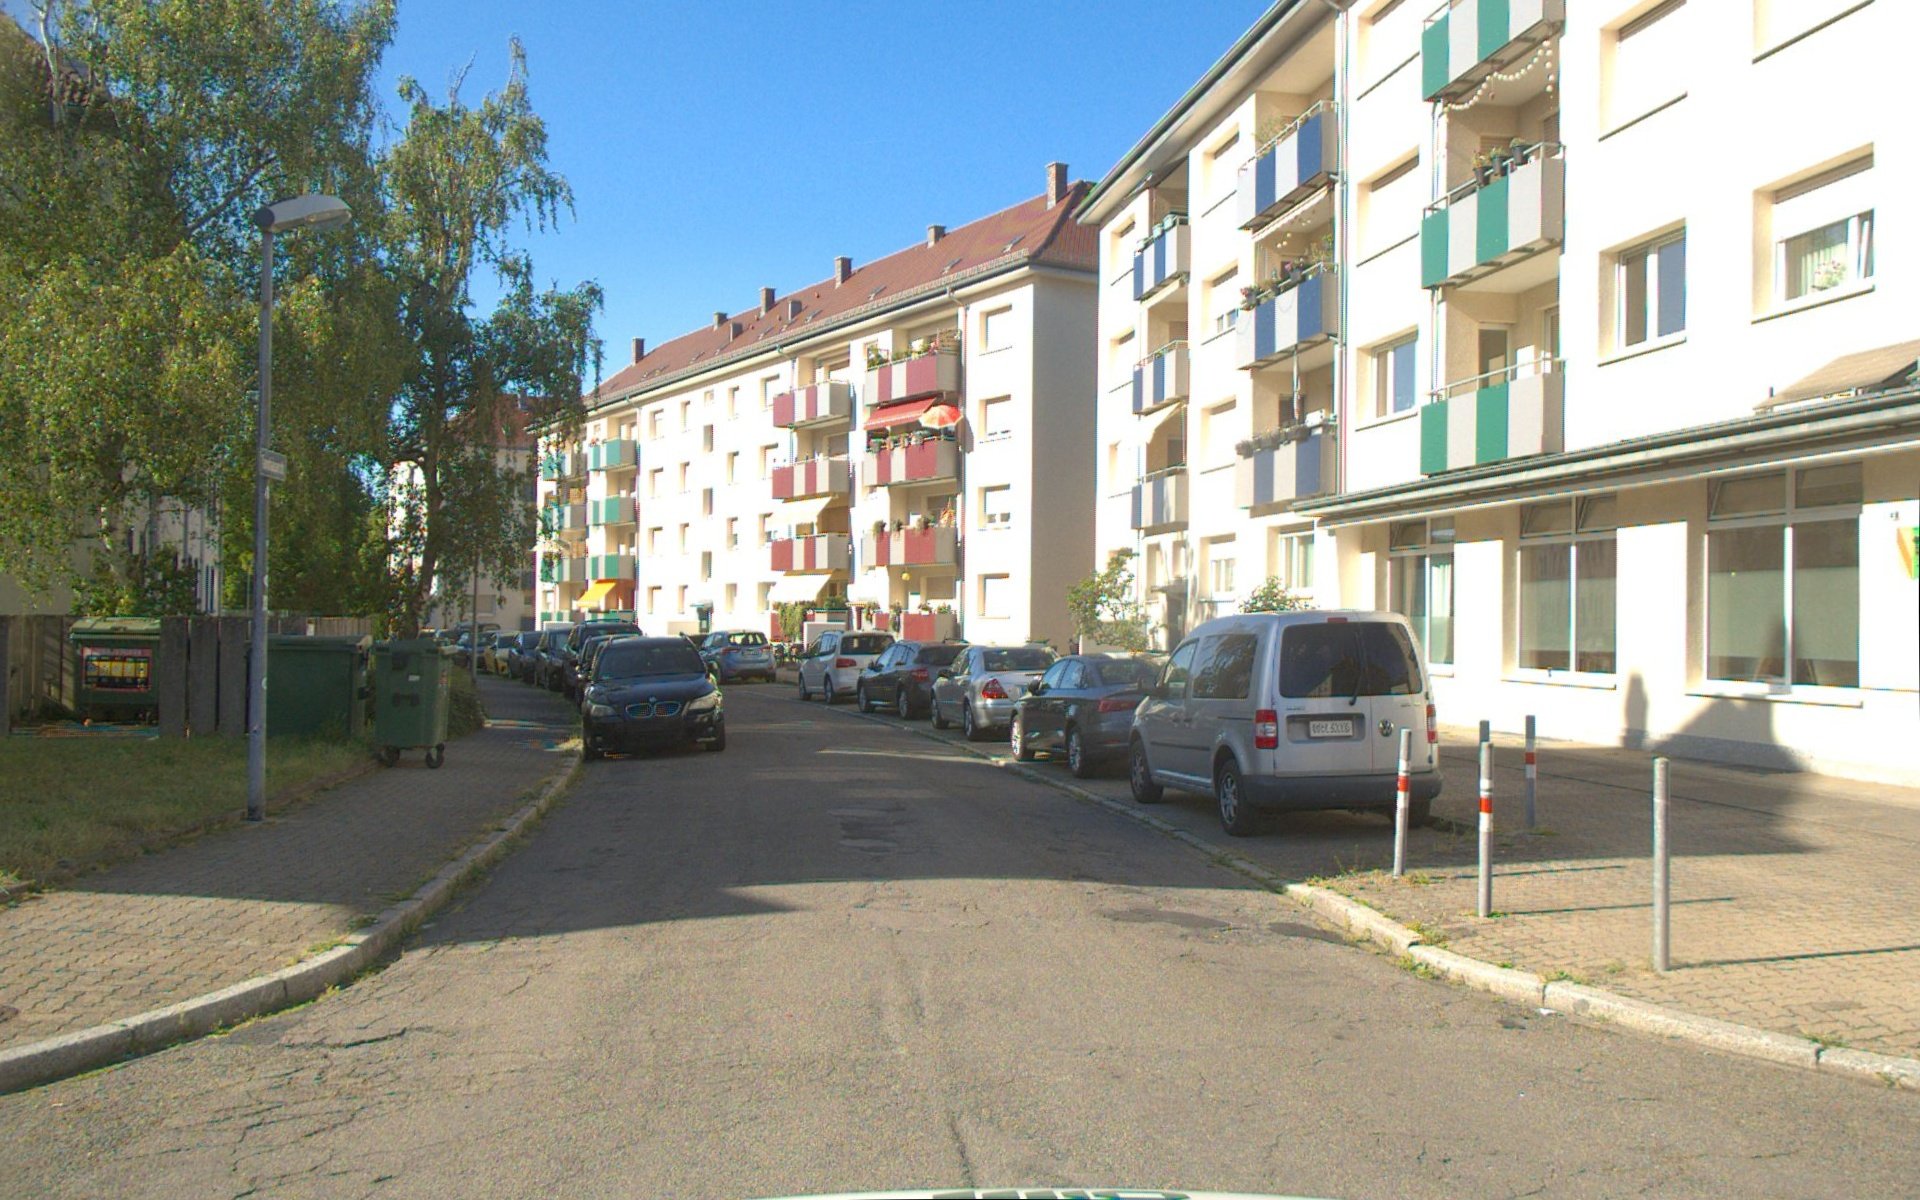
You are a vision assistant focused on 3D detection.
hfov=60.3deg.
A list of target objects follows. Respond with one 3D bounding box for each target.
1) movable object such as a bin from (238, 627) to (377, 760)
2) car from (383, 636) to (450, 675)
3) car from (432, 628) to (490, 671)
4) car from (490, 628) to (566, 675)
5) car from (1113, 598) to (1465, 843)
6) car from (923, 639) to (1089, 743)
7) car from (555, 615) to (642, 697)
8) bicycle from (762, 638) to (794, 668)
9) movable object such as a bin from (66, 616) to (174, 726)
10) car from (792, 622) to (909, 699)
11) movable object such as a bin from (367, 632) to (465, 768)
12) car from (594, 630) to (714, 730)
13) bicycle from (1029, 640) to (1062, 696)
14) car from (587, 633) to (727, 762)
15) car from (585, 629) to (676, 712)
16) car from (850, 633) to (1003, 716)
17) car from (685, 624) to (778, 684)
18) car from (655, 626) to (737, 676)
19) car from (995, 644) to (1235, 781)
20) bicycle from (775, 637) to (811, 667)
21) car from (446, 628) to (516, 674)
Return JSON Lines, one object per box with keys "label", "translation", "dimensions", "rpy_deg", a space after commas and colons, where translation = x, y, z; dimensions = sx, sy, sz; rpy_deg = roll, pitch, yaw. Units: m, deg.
{"label": "movable object such as a bin", "translation": [-7.164, 1.016, 18.208], "dimensions": [1.195, 1.405, 0.766], "rpy_deg": [1, -1, -4]}
{"label": "car", "translation": [-22.485, 2.273, 68.304], "dimensions": [1.725, 1.456, 4.551], "rpy_deg": [-2, 0, -30]}
{"label": "car", "translation": [-19.279, 1.886, 63.851], "dimensions": [1.462, 1.503, 3.598], "rpy_deg": [-3, 1, -27]}
{"label": "car", "translation": [-13.781, 1.607, 52.635], "dimensions": [1.672, 1.413, 4.124], "rpy_deg": [1, -1, -25]}
{"label": "car", "translation": [2.815, 0.969, 15.137], "dimensions": [1.715, 1.856, 4.121], "rpy_deg": [-2, 0, -10]}
{"label": "car", "translation": [0.640, 1.397, 26.790], "dimensions": [1.648, 1.472, 4.710], "rpy_deg": [0, -1, -12]}
{"label": "car", "translation": [-8.523, 1.283, 38.802], "dimensions": [1.531, 1.744, 4.315], "rpy_deg": [-2, 0, -18]}
{"label": "bicycle", "translation": [-6.572, 1.913, 59.585], "dimensions": [0.492, 1.037, 1.824], "rpy_deg": [-1, -1, -28]}
{"label": "movable object such as a bin", "translation": [-11.602, 0.961, 22.891], "dimensions": [1.041, 1.460, 1.001], "rpy_deg": [-1, -1, -9]}
{"label": "car", "translation": [-2.648, 1.437, 39.013], "dimensions": [1.668, 1.685, 4.366], "rpy_deg": [-1, -2, -19]}
{"label": "movable object such as a bin", "translation": [-5.915, 1.057, 18.044], "dimensions": [0.761, 1.417, 1.414], "rpy_deg": [0, -1, -8]}
{"label": "car", "translation": [-5.212, 1.279, 27.812], "dimensions": [1.650, 1.468, 4.263], "rpy_deg": [-2, 0, -15]}
{"label": "bicycle", "translation": [1.972, 1.550, 38.294], "dimensions": [0.504, 1.224, 1.759], "rpy_deg": [-1, 0, -4]}
{"label": "car", "translation": [-4.154, 1.243, 22.645], "dimensions": [1.648, 1.478, 4.608], "rpy_deg": [-2, 0, -11]}
{"label": "car", "translation": [-6.618, 1.356, 32.996], "dimensions": [1.529, 1.468, 3.952], "rpy_deg": [-2, 0, -15]}
{"label": "car", "translation": [-0.748, 1.416, 32.562], "dimensions": [1.668, 1.457, 4.661], "rpy_deg": [-1, -1, -19]}
{"label": "car", "translation": [-7.085, 1.624, 50.900], "dimensions": [1.743, 1.664, 4.009], "rpy_deg": [-1, 1, -25]}
{"label": "car", "translation": [-8.896, 1.673, 55.528], "dimensions": [1.713, 1.535, 3.854], "rpy_deg": [-2, 0, -25]}
{"label": "car", "translation": [1.794, 1.305, 20.673], "dimensions": [1.649, 1.432, 4.530], "rpy_deg": [0, -1, -13]}
{"label": "bicycle", "translation": [-6.069, 1.879, 60.095], "dimensions": [0.610, 0.995, 1.879], "rpy_deg": [-3, 2, -27]}
{"label": "car", "translation": [-17.149, 1.786, 59.081], "dimensions": [1.551, 1.490, 4.221], "rpy_deg": [-1, 0, -28]}
